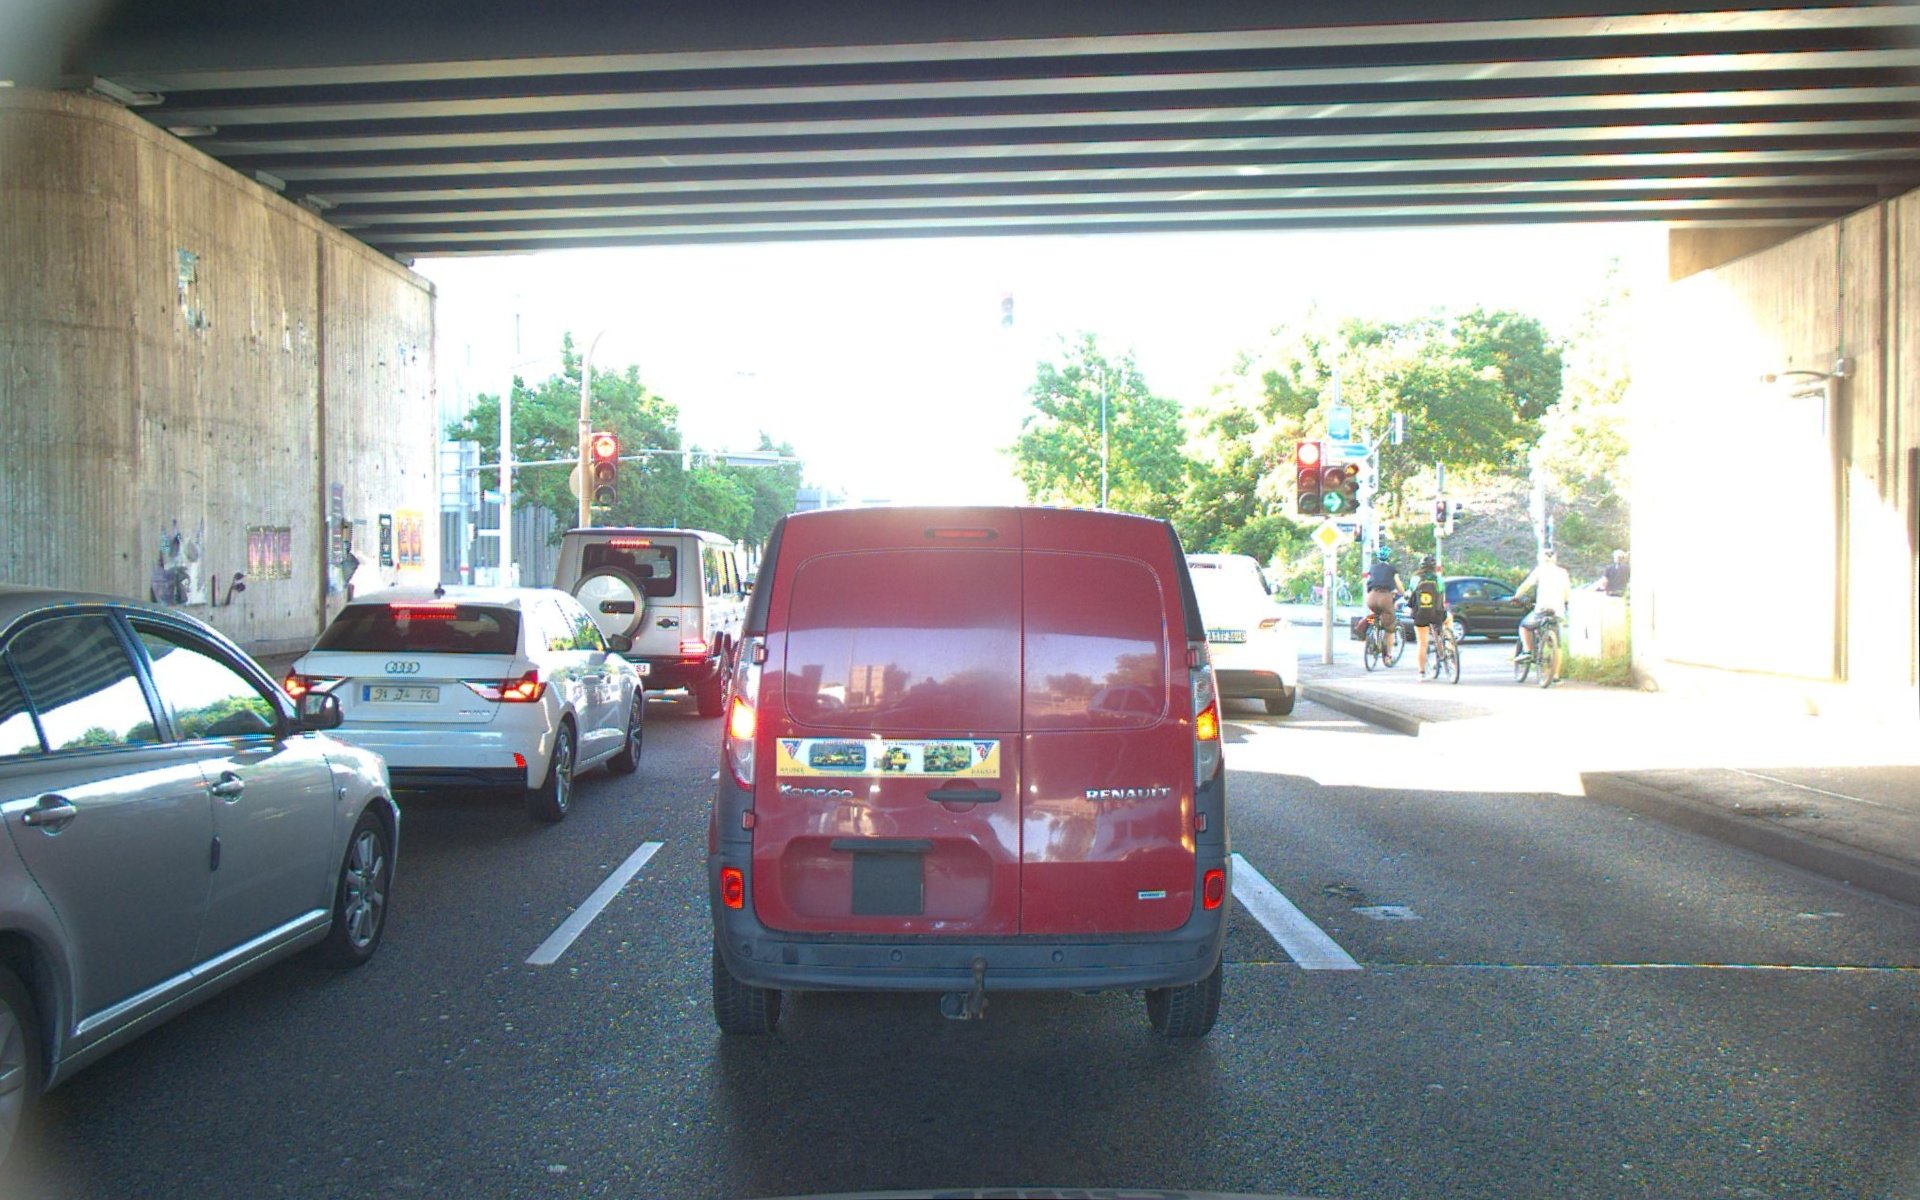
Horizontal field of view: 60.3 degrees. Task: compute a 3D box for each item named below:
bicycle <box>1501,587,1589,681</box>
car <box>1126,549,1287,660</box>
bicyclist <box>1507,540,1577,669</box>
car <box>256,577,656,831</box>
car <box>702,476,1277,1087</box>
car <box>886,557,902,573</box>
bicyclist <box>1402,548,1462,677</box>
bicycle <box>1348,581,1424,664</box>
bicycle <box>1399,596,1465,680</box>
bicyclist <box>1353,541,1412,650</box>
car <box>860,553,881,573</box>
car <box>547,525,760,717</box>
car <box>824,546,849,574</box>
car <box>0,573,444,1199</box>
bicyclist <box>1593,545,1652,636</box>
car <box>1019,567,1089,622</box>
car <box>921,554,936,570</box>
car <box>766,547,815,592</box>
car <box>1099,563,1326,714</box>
[{"bbox_3d":[7.328,0.414,20.785,0.666,1.132,1.605,0,0,5],"label":"bicycle"},{"bbox_3d":[4.670,0.066,30.734,1.859,1.868,4.834,1,0,22],"label":"car"},{"bbox_3d":[7.333,0.056,20.872,0.655,1.589,0.736,0,0,5],"label":"bicyclist"},{"bbox_3d":[-3.248,0.589,11.421,1.658,1.435,3.812,1,0,-2],"label":"car"},{"bbox_3d":[0.063,0.531,6.920,1.684,1.795,3.999,1,0,-1],"label":"car"},{"bbox_3d":[-8.863,-4.729,222.210,1.890,2.049,3.913,1,0,-1],"label":"car"},{"bbox_3d":[6.205,0.163,21.769,0.663,1.657,0.644,1,0,10],"label":"bicyclist"},{"bbox_3d":[6.342,0.322,24.554,0.639,1.188,1.775,0,0,30],"label":"bicycle"},{"bbox_3d":[6.200,0.488,21.777,0.662,1.042,1.530,1,0,10],"label":"bicycle"},{"bbox_3d":[6.230,-0.069,24.364,0.640,1.561,0.845,0,0,30],"label":"bicyclist"},{"bbox_3d":[-9.386,-3.873,174.000,1.953,2.049,3.999,1,0,-1],"label":"car"},{"bbox_3d":[-3.360,0.202,18.791,1.777,1.937,3.812,1,0,-2],"label":"car"},{"bbox_3d":[-9.900,-3.189,132.312,1.712,2.049,3.843,1,0,-1],"label":"car"},{"bbox_3d":[-3.000,0.658,4.875,1.662,1.480,4.397,1,0,-2],"label":"car"},{"bbox_3d":[12.580,-0.179,31.409,0.737,1.684,0.880,1,0,45],"label":"bicyclist"},{"bbox_3d":[2.669,-0.171,47.610,1.710,1.481,3.716,1,0,-1],"label":"car"},{"bbox_3d":[-4.194,-5.029,220.682,1.953,2.049,3.999,1,0,-1],"label":"car"},{"bbox_3d":[-8.214,-1.452,80.343,1.953,2.049,3.999,1,0,-1],"label":"car"},{"bbox_3d":[2.916,0.412,20.092,1.953,1.578,4.419,2,0,-1],"label":"car"}]
